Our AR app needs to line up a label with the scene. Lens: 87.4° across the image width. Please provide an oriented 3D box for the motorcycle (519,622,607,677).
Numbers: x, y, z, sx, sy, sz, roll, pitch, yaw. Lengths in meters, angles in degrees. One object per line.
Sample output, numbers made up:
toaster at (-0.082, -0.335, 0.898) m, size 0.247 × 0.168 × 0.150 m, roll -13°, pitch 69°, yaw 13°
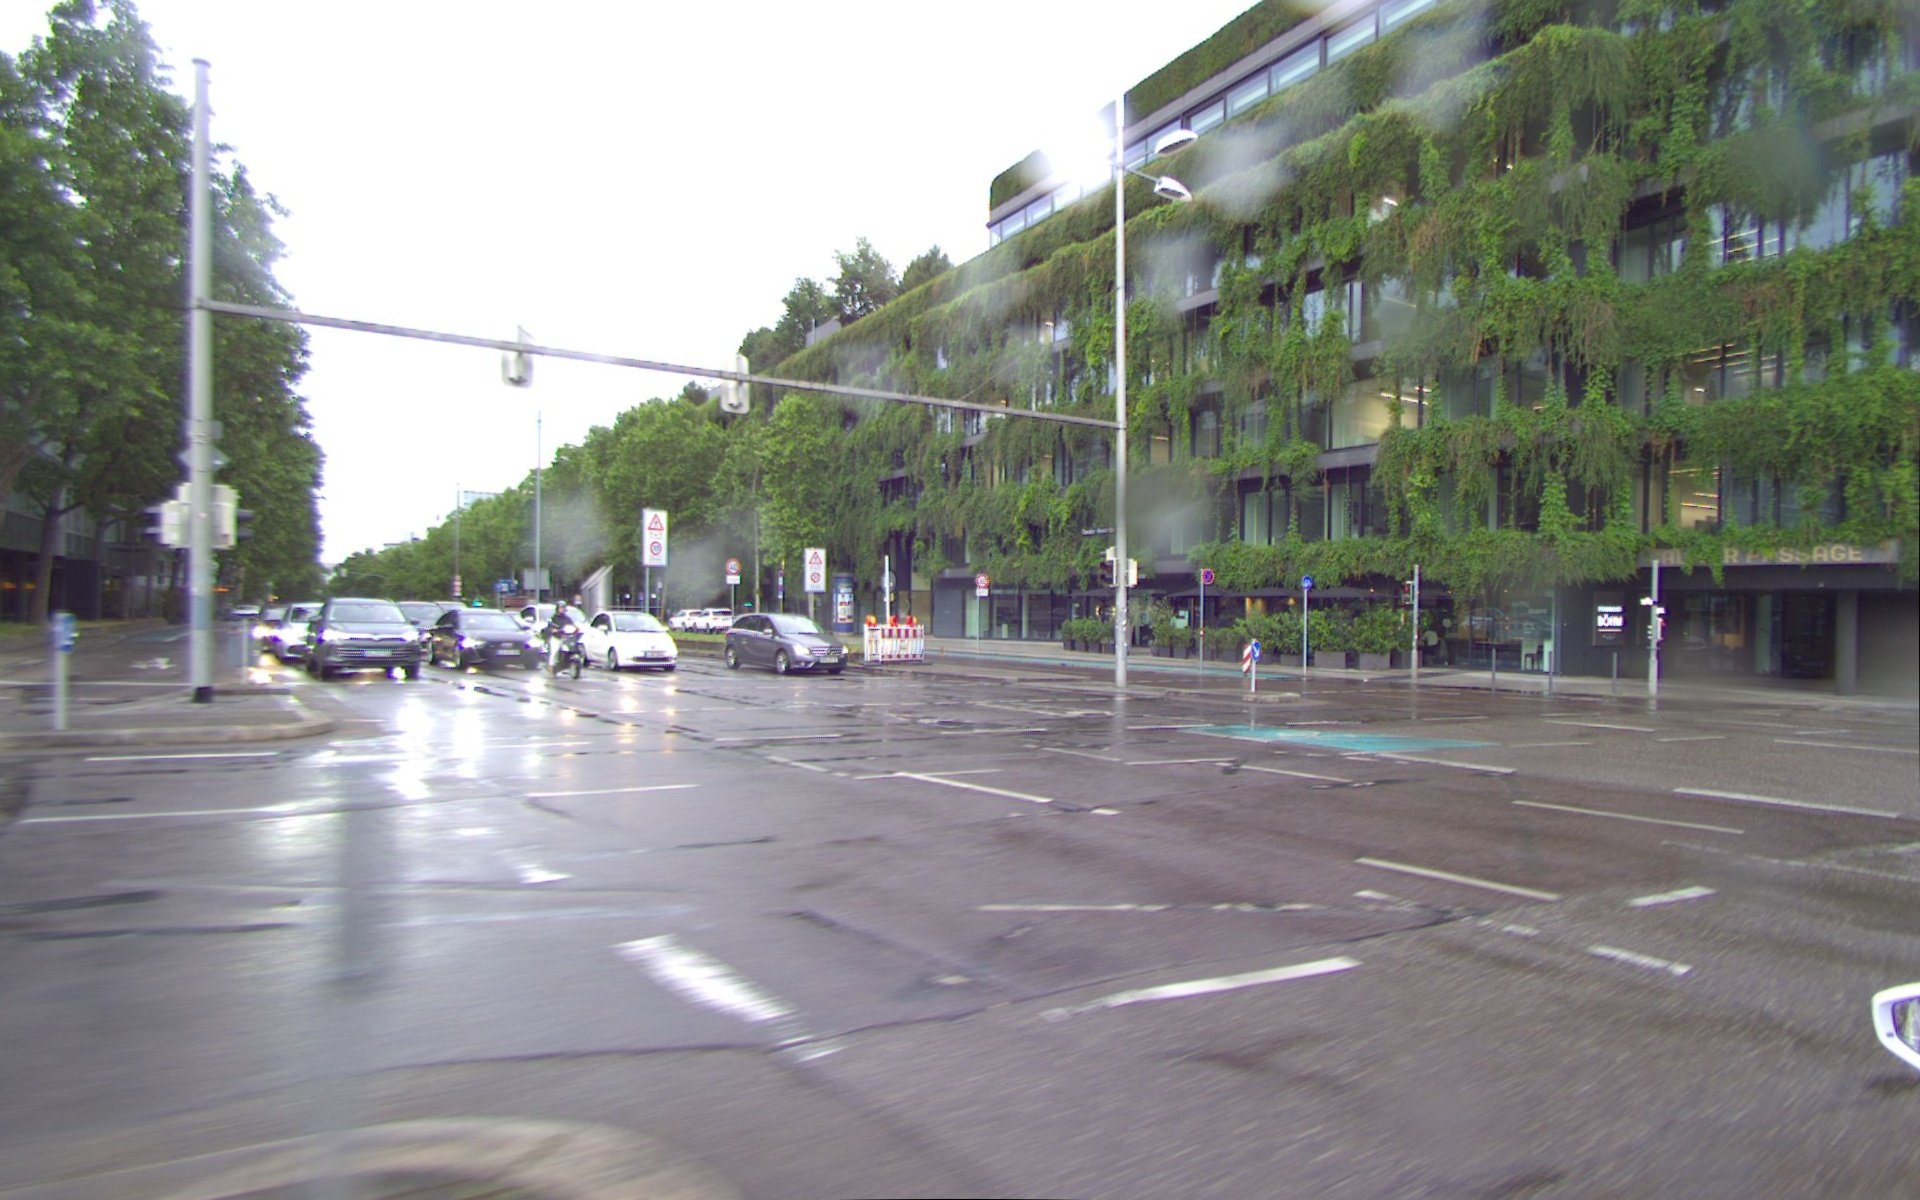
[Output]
motorcycle at (-8.620, 1.054, 21.760) m, size 2.333 × 1.068 × 0.830 m, roll 2°, pitch -1°, yaw 43°

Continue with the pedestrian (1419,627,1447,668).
pedestrian at (15.769, 1.589, 33.500) m, size 0.592 × 1.328 × 0.610 m, roll 2°, pitch -1°, yaw -33°

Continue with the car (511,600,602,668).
car at (-12.400, 1.007, 30.731) m, size 1.977 × 1.923 × 4.143 m, roll 2°, pitch -1°, yaw -30°

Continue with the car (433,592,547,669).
car at (-11.947, 0.733, 25.412) m, size 1.980 × 1.773 × 3.962 m, roll 2°, pitch -1°, yaw -34°

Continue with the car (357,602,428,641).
car at (-21.743, 0.792, 38.415) m, size 1.980 × 1.389 × 4.135 m, roll 2°, pitch -1°, yaw -35°

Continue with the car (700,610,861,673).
car at (-4.923, 1.064, 27.042) m, size 1.920 × 1.508 × 4.846 m, roll 2°, pitch -1°, yaw -43°

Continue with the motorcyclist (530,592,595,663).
motorcyclist at (-8.629, 0.592, 21.787) m, size 1.154 × 1.492 × 0.831 m, roll 2°, pitch -1°, yaw 43°

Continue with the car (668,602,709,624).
car at (-20.402, 0.967, 75.460) m, size 1.784 × 1.442 × 3.962 m, roll 3°, pitch -1°, yaw -34°

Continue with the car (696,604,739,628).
car at (-17.070, 1.099, 70.475) m, size 1.782 × 1.588 × 3.966 m, roll 3°, pitch -1°, yaw -31°

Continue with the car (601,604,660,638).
car at (-17.111, 1.073, 52.035) m, size 1.833 × 1.691 × 3.962 m, roll 2°, pitch -1°, yaw -34°

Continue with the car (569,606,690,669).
car at (-8.704, 0.931, 26.265) m, size 1.980 × 1.494 × 3.962 m, roll 2°, pitch -1°, yaw -34°

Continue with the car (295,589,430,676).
car at (-13.244, 0.664, 22.155) m, size 1.983 × 1.709 × 4.318 m, roll 2°, pitch -1°, yaw -38°

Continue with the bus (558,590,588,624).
bus at (-40.287, 0.670, 104.539) m, size 1.782 × 3.384 × 5.927 m, roll 3°, pitch -1°, yaw -31°

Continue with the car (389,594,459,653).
car at (-17.591, 0.735, 32.873) m, size 1.839 × 1.791 × 4.143 m, roll 2°, pitch -1°, yaw -30°

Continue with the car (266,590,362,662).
car at (-17.557, 0.681, 27.229) m, size 1.981 × 1.773 × 3.960 m, roll 2°, pitch -1°, yaw -36°

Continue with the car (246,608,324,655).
car at (-22.200, 1.015, 33.027) m, size 1.980 × 1.389 × 4.135 m, roll 2°, pitch -1°, yaw -35°
